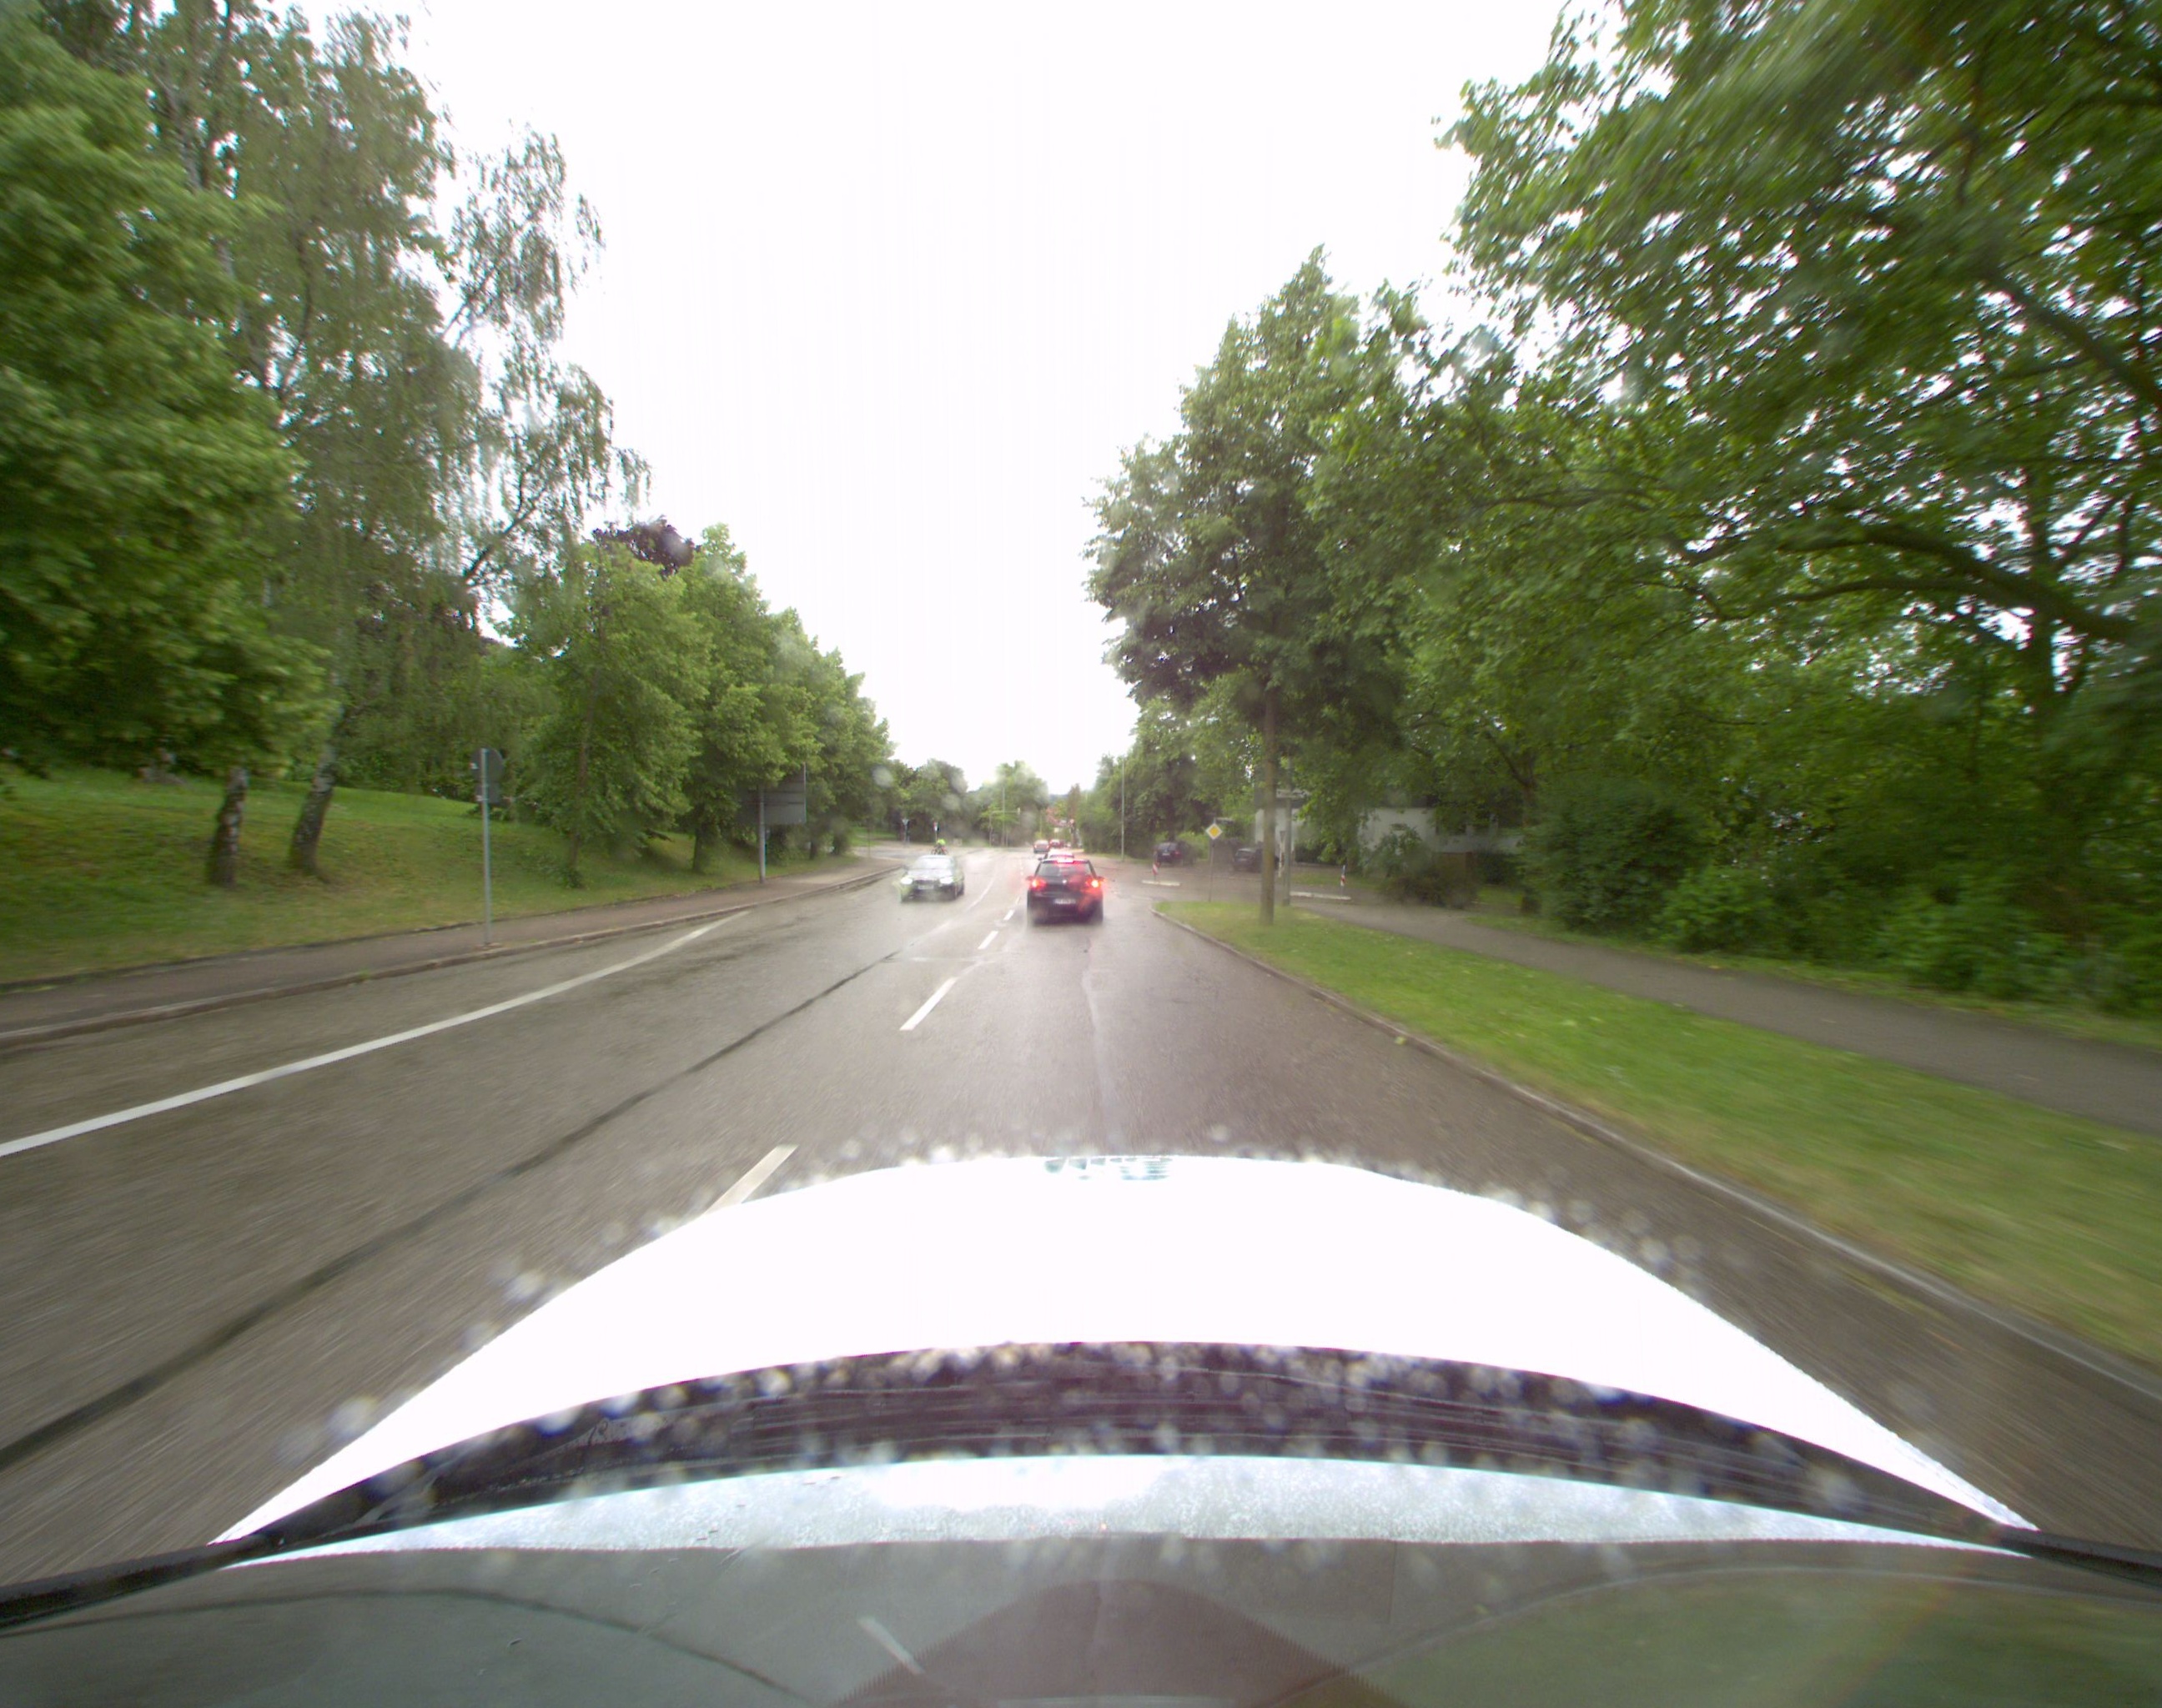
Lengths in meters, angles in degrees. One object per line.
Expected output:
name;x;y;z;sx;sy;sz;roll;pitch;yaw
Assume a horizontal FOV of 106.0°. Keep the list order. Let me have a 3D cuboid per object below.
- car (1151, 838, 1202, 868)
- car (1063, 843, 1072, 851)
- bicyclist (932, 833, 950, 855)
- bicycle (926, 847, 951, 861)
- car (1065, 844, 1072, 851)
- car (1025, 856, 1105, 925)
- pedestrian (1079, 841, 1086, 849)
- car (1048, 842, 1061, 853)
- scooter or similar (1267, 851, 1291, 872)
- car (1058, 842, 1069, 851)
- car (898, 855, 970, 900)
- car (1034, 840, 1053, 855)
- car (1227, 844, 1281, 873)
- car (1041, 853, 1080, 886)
car;6.474;-0.087;54.922;1.930;1.689;4.933;3;4;25
car;-2.753;-1.514;168.253;1.716;1.464;3.999;4;1;-1
bicyclist;-11.152;-0.772;64.861;1.269;1.755;0.859;0;-1;43
bicycle;-11.388;-0.012;65.054;2.012;1.155;0.859;0;-1;43
car;-3.170;-1.689;204.884;1.716;1.464;3.999;4;1;-1
car;-0.358;0.823;19.723;1.716;1.464;3.999;1;-1;0
pedestrian;0.249;-1.532;135.317;1.068;1.355;0.920;0;1;7
car;-3.950;-1.004;121.382;1.716;1.464;3.999;4;1;-1
scooter or similar;12.172;0.477;50.125;1.335;1.285;0.560;0;0;-9
car;-2.929;-1.254;139.310;1.716;1.464;3.999;4;1;-1
car;-4.848;0.756;27.357;1.716;1.384;4.137;1;-1;-1
car;-3.994;-0.687;87.352;1.716;1.464;3.999;4;1;-1
car;11.165;0.248;52.462;1.734;1.469;4.596;4;5;34
car;-0.996;0.679;38.598;1.750;1.464;3.996;0;0;-3
